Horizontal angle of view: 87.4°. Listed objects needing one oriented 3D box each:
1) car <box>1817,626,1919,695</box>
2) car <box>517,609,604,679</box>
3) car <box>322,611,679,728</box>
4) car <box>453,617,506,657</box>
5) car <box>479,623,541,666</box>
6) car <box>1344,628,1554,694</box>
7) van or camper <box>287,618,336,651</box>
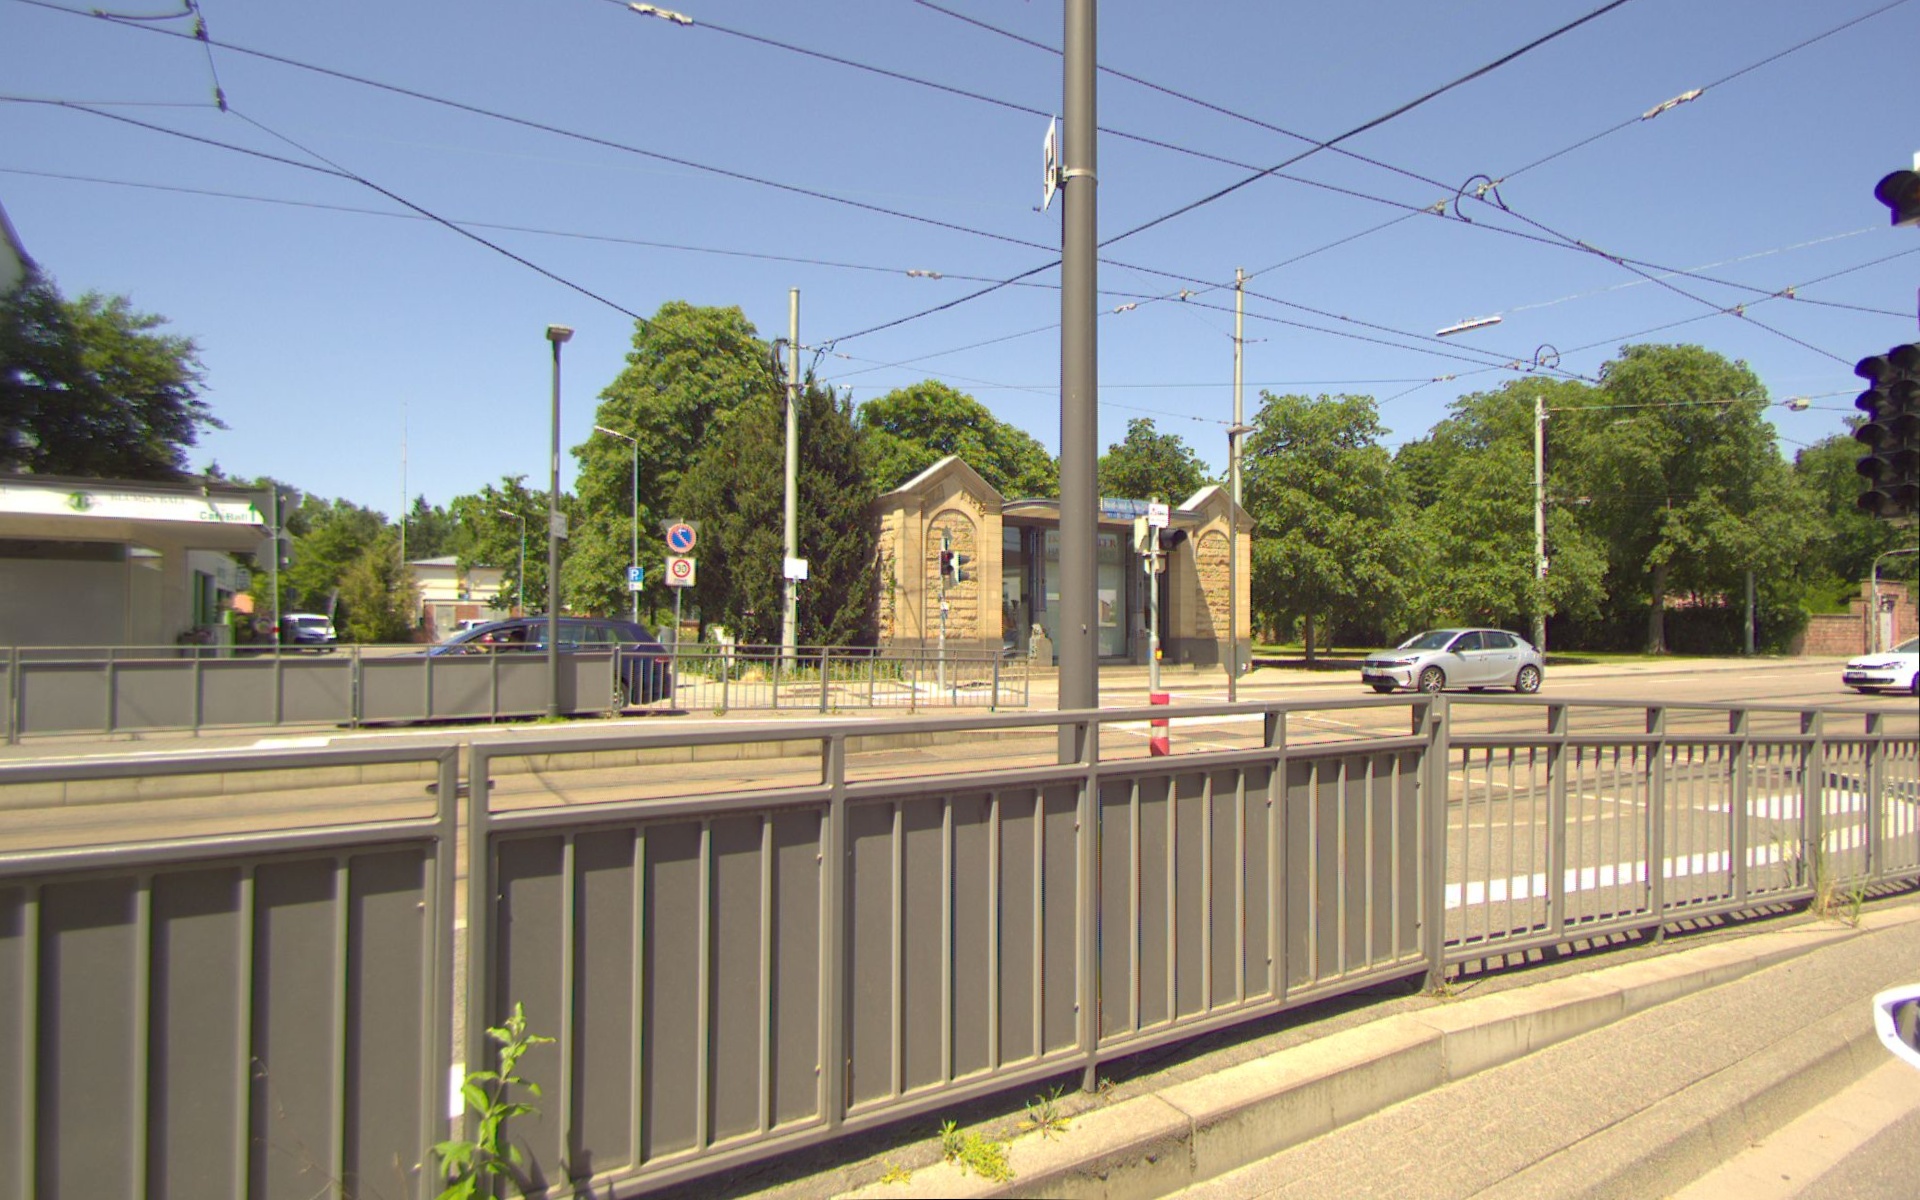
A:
[{"bbox_3d":[22.631,1.362,22.943,4.408,1.509,1.825,0,-1,5],"label":"car"},{"bbox_3d":[-9.928,1.025,24.814,1.799,1.472,3.934,1,1,-25],"label":"car"},{"bbox_3d":[-6.504,0.925,14.464,4.426,1.461,1.848,1,-1,-30],"label":"car"},{"bbox_3d":[-18.894,1.465,39.395,1.625,1.465,3.784,1,-3,-29],"label":"car"},{"bbox_3d":[-15.374,1.519,34.223,1.624,1.388,3.785,1,-3,-29],"label":"car"},{"bbox_3d":[10.828,1.319,22.321,3.983,1.381,1.819,1,-1,-14],"label":"car"},{"bbox_3d":[-32.186,1.680,49.833,1.676,1.587,3.784,1,-2,-38],"label":"van or camper"}]
